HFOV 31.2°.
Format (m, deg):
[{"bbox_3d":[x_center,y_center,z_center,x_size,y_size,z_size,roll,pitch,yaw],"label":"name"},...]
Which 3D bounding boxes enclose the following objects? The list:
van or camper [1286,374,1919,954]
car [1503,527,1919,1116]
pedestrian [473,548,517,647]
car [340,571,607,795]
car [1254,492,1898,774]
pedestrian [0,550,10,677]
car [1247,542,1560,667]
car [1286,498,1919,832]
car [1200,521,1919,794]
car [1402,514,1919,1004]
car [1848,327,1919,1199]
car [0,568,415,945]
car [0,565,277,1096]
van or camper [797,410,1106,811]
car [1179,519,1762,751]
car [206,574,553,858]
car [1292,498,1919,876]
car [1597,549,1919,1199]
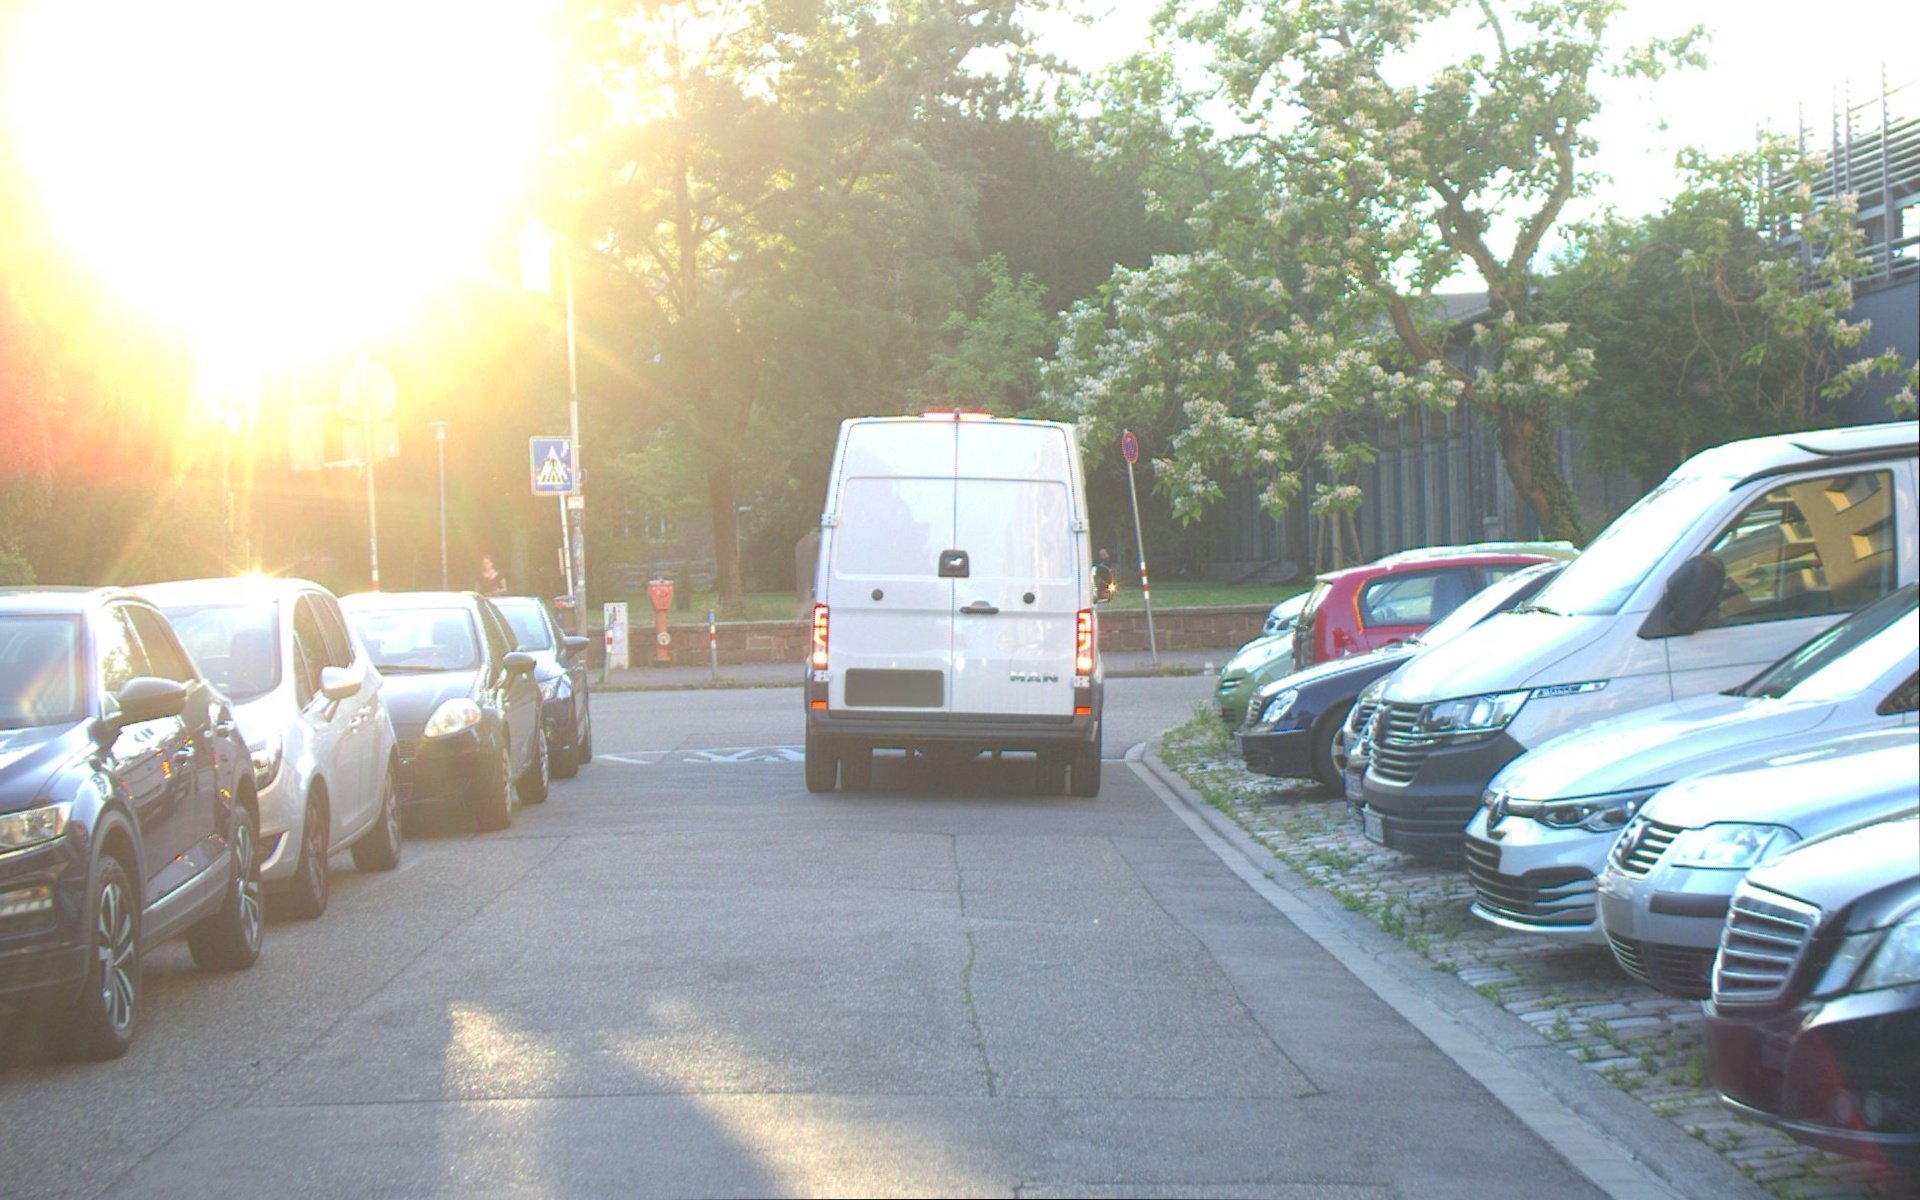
[{"bbox_3d":[4.210,0.130,15.087,5.132,2.160,2.040,-5,0,-2],"label":"van or camper"},{"bbox_3d":[4.049,0.539,10.462,4.403,1.587,1.845,-3,-1,-1],"label":"car"},{"bbox_3d":[-7.797,-0.050,57.644,0.646,1.643,0.674,0,1,0],"label":"pedestrian"},{"bbox_3d":[-3.807,0.601,27.440,1.733,1.562,3.791,-3,1,-3],"label":"car"},{"bbox_3d":[4.539,0.234,25.849,4.404,1.625,1.846,-6,0,2],"label":"car"},{"bbox_3d":[-13.976,0.188,49.172,0.593,1.803,0.621,0,1,1],"label":"pedestrian"},{"bbox_3d":[5.906,0.044,46.103,3.854,1.568,1.958,-1,1,-2],"label":"car"},{"bbox_3d":[4.328,0.350,20.614,4.403,1.656,1.846,-4,-1,-3],"label":"car"},{"bbox_3d":[3.954,0.387,23.118,4.403,1.526,1.846,-3,-1,-3],"label":"car"},{"bbox_3d":[4.028,0.498,12.915,4.403,1.626,1.845,-3,-1,-1],"label":"car"},{"bbox_3d":[4.083,0.369,5.688,4.636,1.974,1.845,-3,-1,-1],"label":"car"},{"bbox_3d":[-3.827,0.673,17.103,1.733,1.562,4.130,-3,1,-3],"label":"car"},{"bbox_3d":[-3.636,0.702,12.243,1.733,1.562,4.168,-3,1,-3],"label":"car"},{"bbox_3d":[-0.093,0.035,25.798,1.993,2.609,6.403,-1,1,-1],"label":"van or camper"},{"bbox_3d":[4.135,0.296,28.331,4.403,1.626,1.846,-3,-1,-3],"label":"car"},{"bbox_3d":[-3.629,0.669,22.074,1.733,1.562,3.698,-3,1,-3],"label":"car"},{"bbox_3d":[4.073,0.393,17.977,4.325,1.656,1.781,-4,-1,-3],"label":"car"},{"bbox_3d":[3.907,0.594,8.019,4.403,1.558,1.845,-3,-1,-1],"label":"car"}]
